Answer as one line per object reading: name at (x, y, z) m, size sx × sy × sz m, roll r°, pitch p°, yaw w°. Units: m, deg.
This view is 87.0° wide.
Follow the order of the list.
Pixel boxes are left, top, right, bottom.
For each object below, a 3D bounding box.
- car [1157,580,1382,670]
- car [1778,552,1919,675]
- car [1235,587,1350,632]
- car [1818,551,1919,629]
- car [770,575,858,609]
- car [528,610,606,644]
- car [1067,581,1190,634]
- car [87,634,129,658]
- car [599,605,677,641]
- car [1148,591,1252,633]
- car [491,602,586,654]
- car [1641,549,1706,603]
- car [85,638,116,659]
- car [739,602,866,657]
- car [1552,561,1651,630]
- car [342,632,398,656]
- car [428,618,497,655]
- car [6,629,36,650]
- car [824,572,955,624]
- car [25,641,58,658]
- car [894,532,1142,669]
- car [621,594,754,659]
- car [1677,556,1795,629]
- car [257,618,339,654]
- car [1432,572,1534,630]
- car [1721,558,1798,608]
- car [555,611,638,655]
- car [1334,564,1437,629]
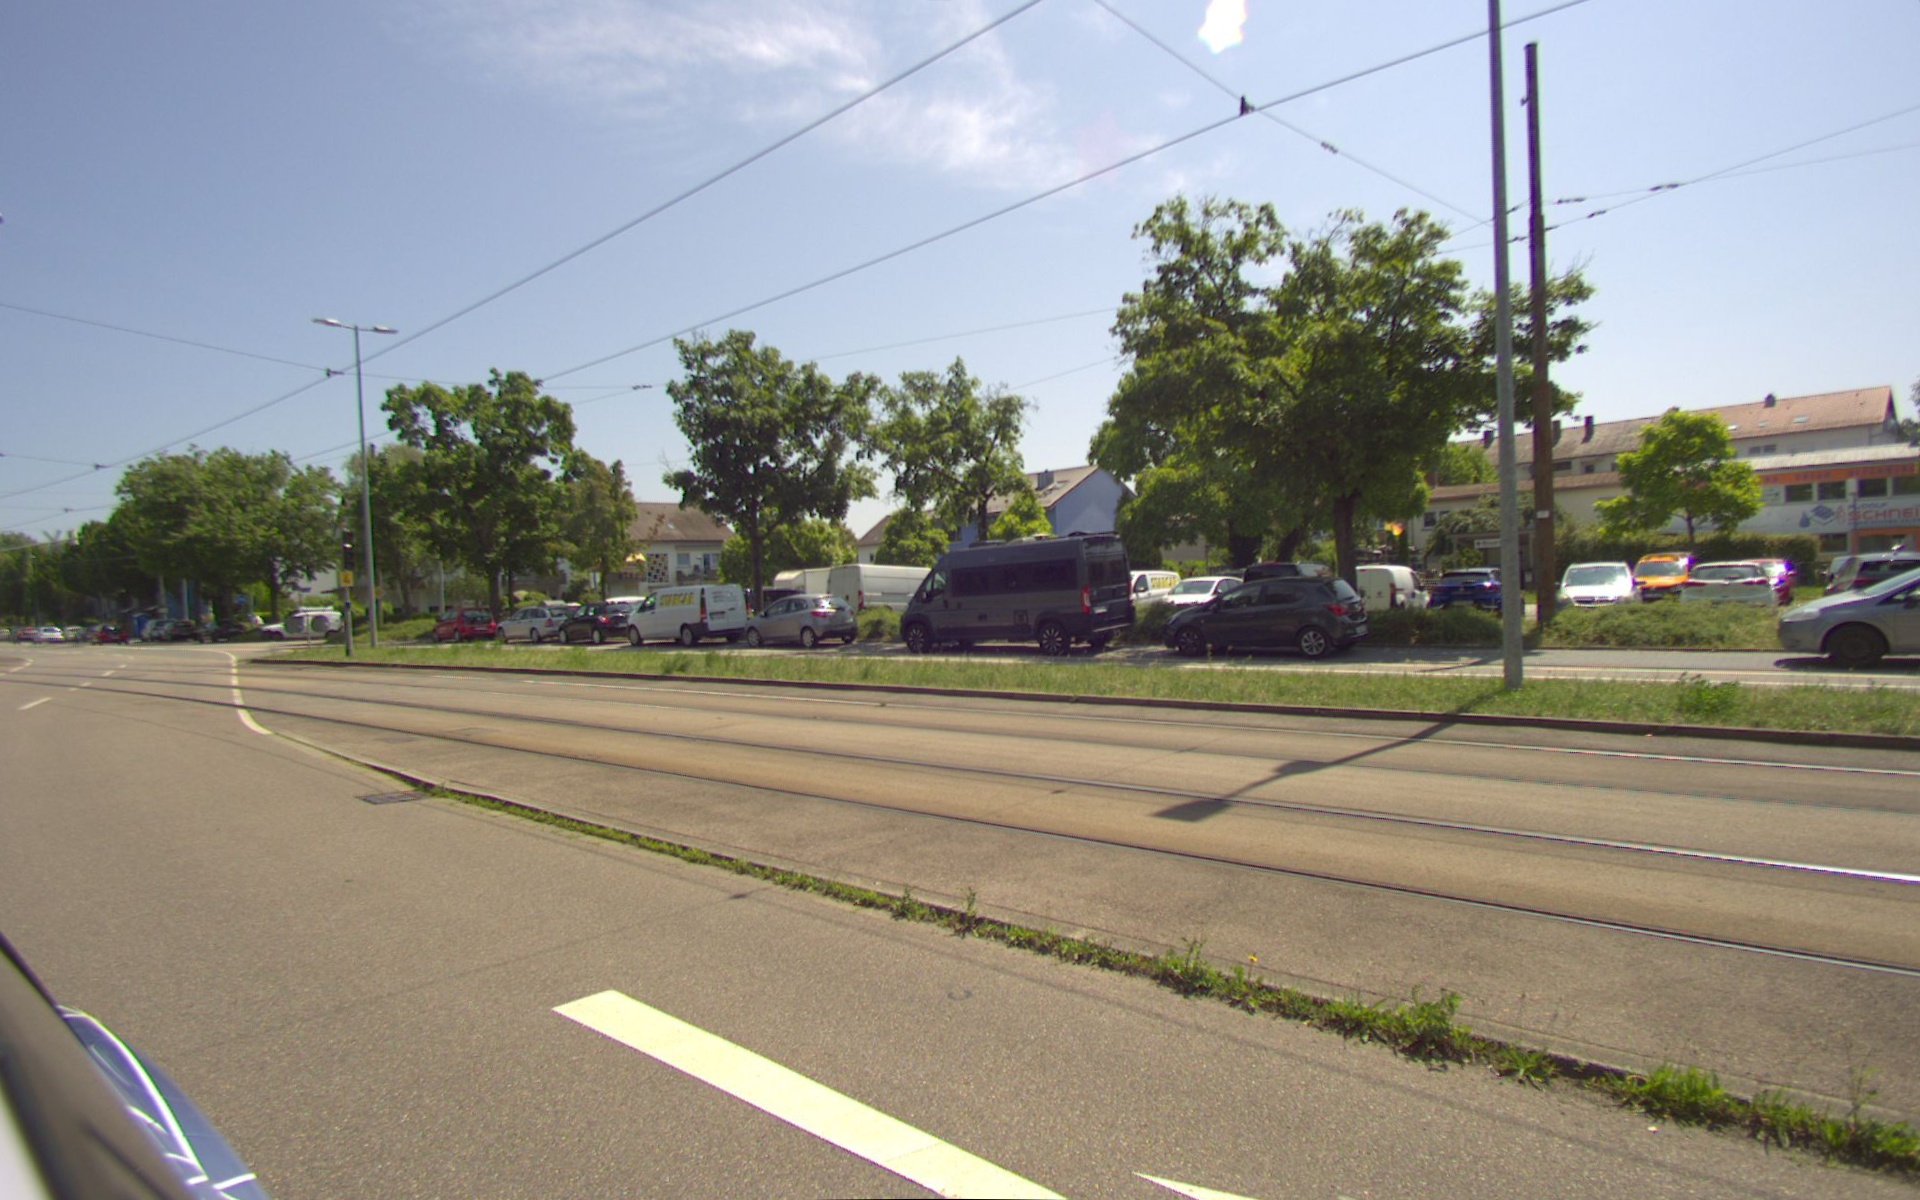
car at (6.025, 0.466, 19.879) m, size 3.750 × 1.589 × 1.950 m, roll -1°, pitch -1°, yaw 42°
car at (13.481, 0.135, 13.321) m, size 4.124 × 1.513 × 1.633 m, roll -2°, pitch 3°, yaw 42°
car at (10.030, 0.255, 30.324) m, size 2.029 × 1.152 × 4.210 m, roll -2°, pitch 0°, yaw 37°
car at (19.752, -0.246, 21.323) m, size 2.018 × 1.501 × 4.117 m, roll -2°, pitch 0°, yaw 33°
car at (-9.256, -0.492, 64.557) m, size 2.145 × 2.078 × 5.674 m, roll -1°, pitch -1°, yaw 38°
car at (-22.730, 1.533, 58.610) m, size 1.712 × 1.888 × 3.953 m, roll -1°, pitch -1°, yaw 34°
car at (5.782, 0.213, 34.244) m, size 1.997 × 1.588 × 4.867 m, roll -2°, pitch 0°, yaw 38°
car at (-58.193, 3.139, 69.130) m, size 3.423 × 1.491 × 1.796 m, roll -1°, pitch -1°, yaw 43°
car at (-17.883, 1.270, 56.355) m, size 1.712 × 1.888 × 3.953 m, roll -1°, pitch -1°, yaw 34°
car at (7.623, 0.357, 31.917) m, size 1.732 × 1.152 × 3.951 m, roll -2°, pitch 0°, yaw 37°
car at (-16.673, 1.094, 39.903) m, size 4.494 × 1.907 × 1.614 m, roll -1°, pitch -1°, yaw 41°
car at (24.388, -0.798, 34.665) m, size 1.689 × 1.665 × 4.082 m, roll -2°, pitch -1°, yaw 35°
car at (-79.888, 4.465, 94.061) m, size 3.983 × 1.867 × 1.681 m, roll -1°, pitch -1°, yaw 43°
car at (-4.583, 0.835, 29.244) m, size 3.607 × 1.475 × 1.744 m, roll -1°, pitch -1°, yaw 42°
car at (15.753, -0.130, 24.835) m, size 1.862 × 1.499 × 3.955 m, roll -2°, pitch 0°, yaw 33°
car at (-30.410, 2.249, 52.135) m, size 3.423 × 1.167 × 1.561 m, roll -1°, pitch -1°, yaw 43°
car at (-21.639, 1.567, 44.002) m, size 3.423 × 1.491 × 1.561 m, roll -1°, pitch -1°, yaw 43°
car at (-88.988, 3.711, 95.881) m, size 3.754 × 1.933 × 1.757 m, roll -1°, pitch -1°, yaw 43°
car at (-2.754, -0.071, 40.919) m, size 2.029 × 1.970 × 5.363 m, roll -1°, pitch -1°, yaw 42°
car at (-77.361, 4.173, 85.229) m, size 3.754 × 1.328 × 1.757 m, roll -1°, pitch -1°, yaw 43°
car at (1.234, 0.058, 23.876) m, size 5.665 × 2.859 × 2.215 m, roll -1°, pitch -1°, yaw 42°
car at (-8.937, 0.827, 32.966) m, size 4.816 × 1.963 × 1.899 m, roll -1°, pitch -1°, yaw 42°
car at (17.871, -0.188, 23.485) m, size 1.827 × 1.501 × 4.030 m, roll -2°, pitch 0°, yaw 33°
car at (-40.245, 2.145, 61.563) m, size 4.144 × 2.005 × 1.826 m, roll -1°, pitch -1°, yaw -35°
car at (14.067, 0.031, 27.118) m, size 1.794 × 1.417 × 3.951 m, roll -2°, pitch -1°, yaw 37°
car at (26.441, -0.531, 33.553) m, size 1.712 × 1.505 × 3.953 m, roll -1°, pitch 0°, yaw 35°
car at (-13.167, 1.181, 36.605) m, size 3.261 × 1.489 × 1.411 m, roll -1°, pitch -1°, yaw 41°
car at (12.327, -0.126, 29.188) m, size 1.794 × 1.730 × 3.951 m, roll -2°, pitch 0°, yaw 37°
